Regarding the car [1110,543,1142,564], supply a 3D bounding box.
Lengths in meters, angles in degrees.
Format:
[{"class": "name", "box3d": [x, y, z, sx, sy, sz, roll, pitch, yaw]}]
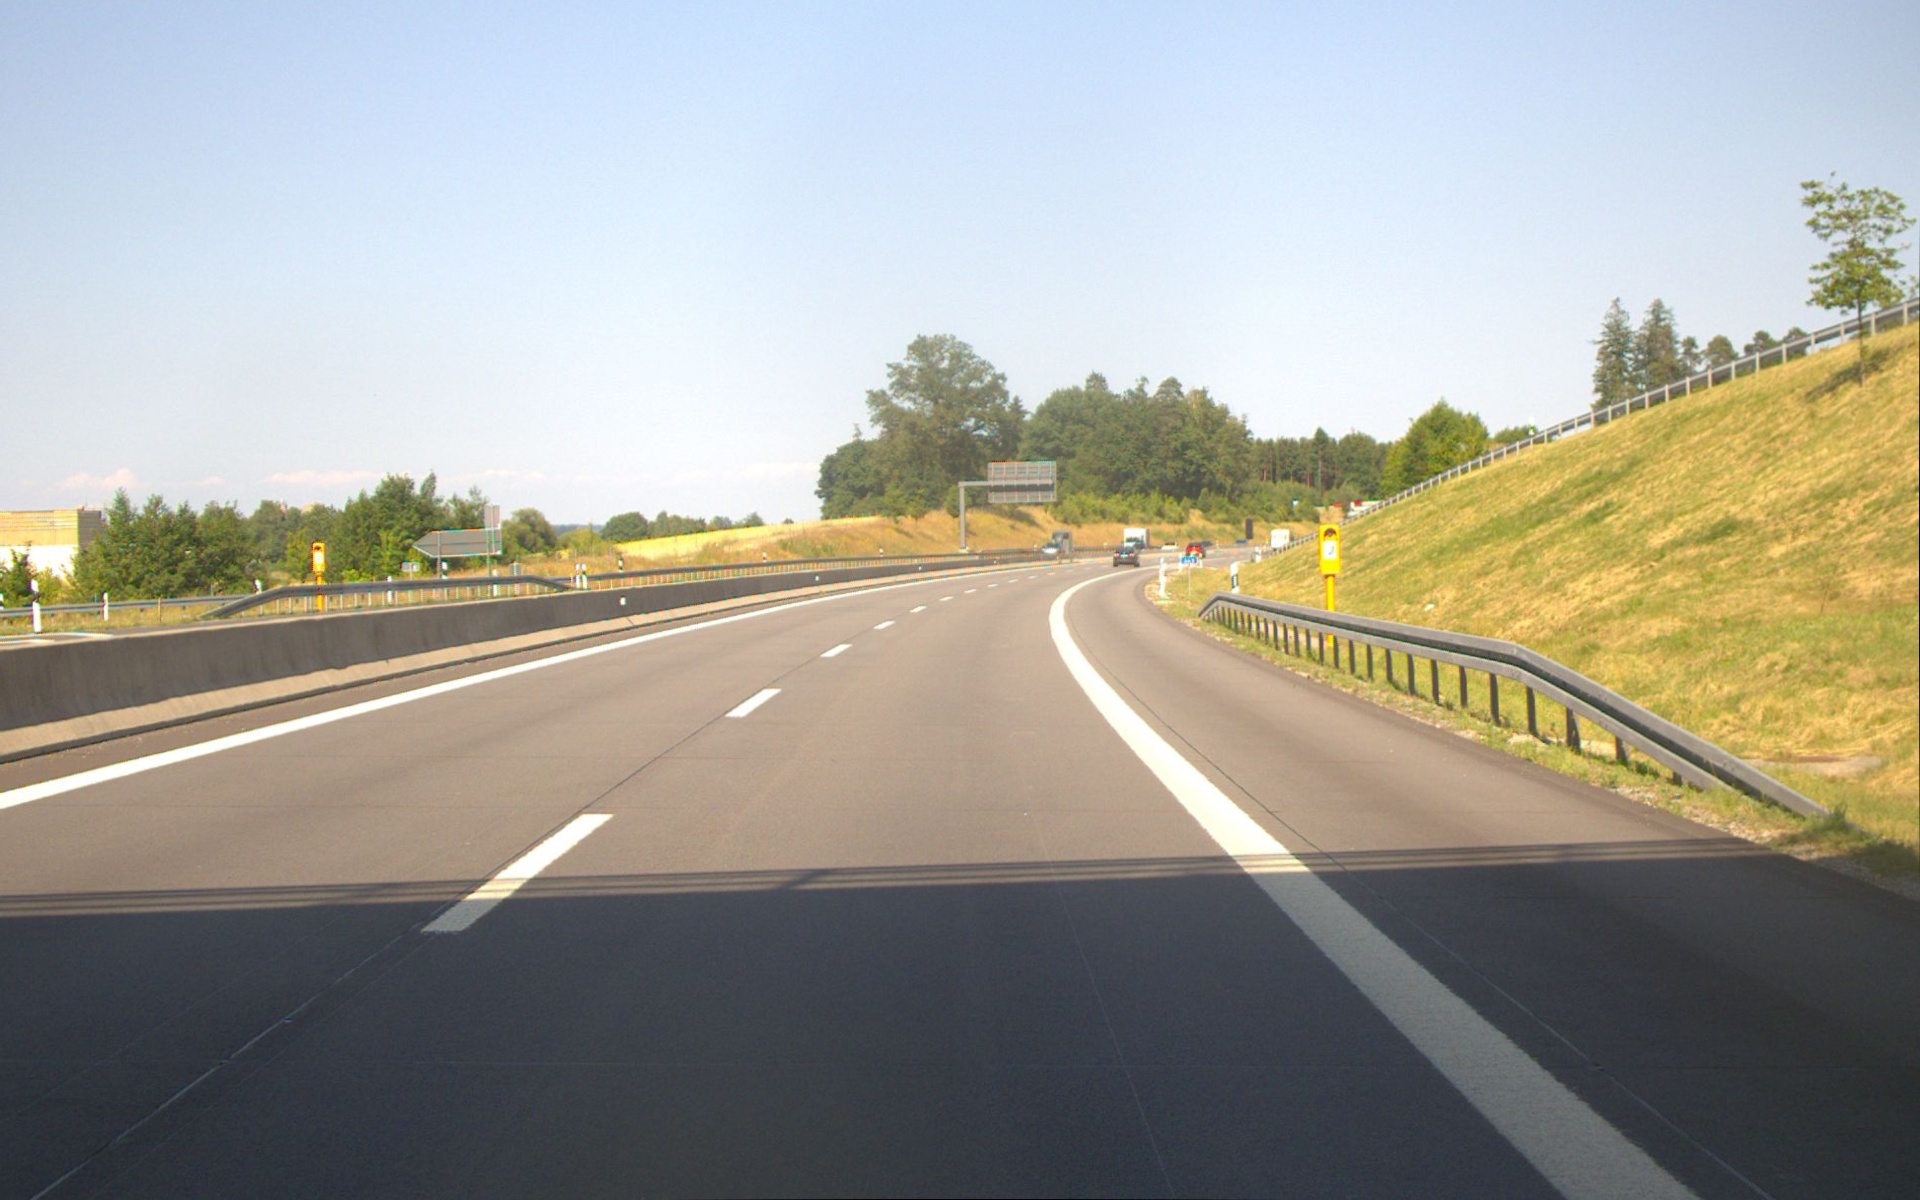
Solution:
[{"class": "car", "box3d": [11.944, -3.323, 247.295, 1.994, 1.415, 3.999, -2, 1, 7]}]
